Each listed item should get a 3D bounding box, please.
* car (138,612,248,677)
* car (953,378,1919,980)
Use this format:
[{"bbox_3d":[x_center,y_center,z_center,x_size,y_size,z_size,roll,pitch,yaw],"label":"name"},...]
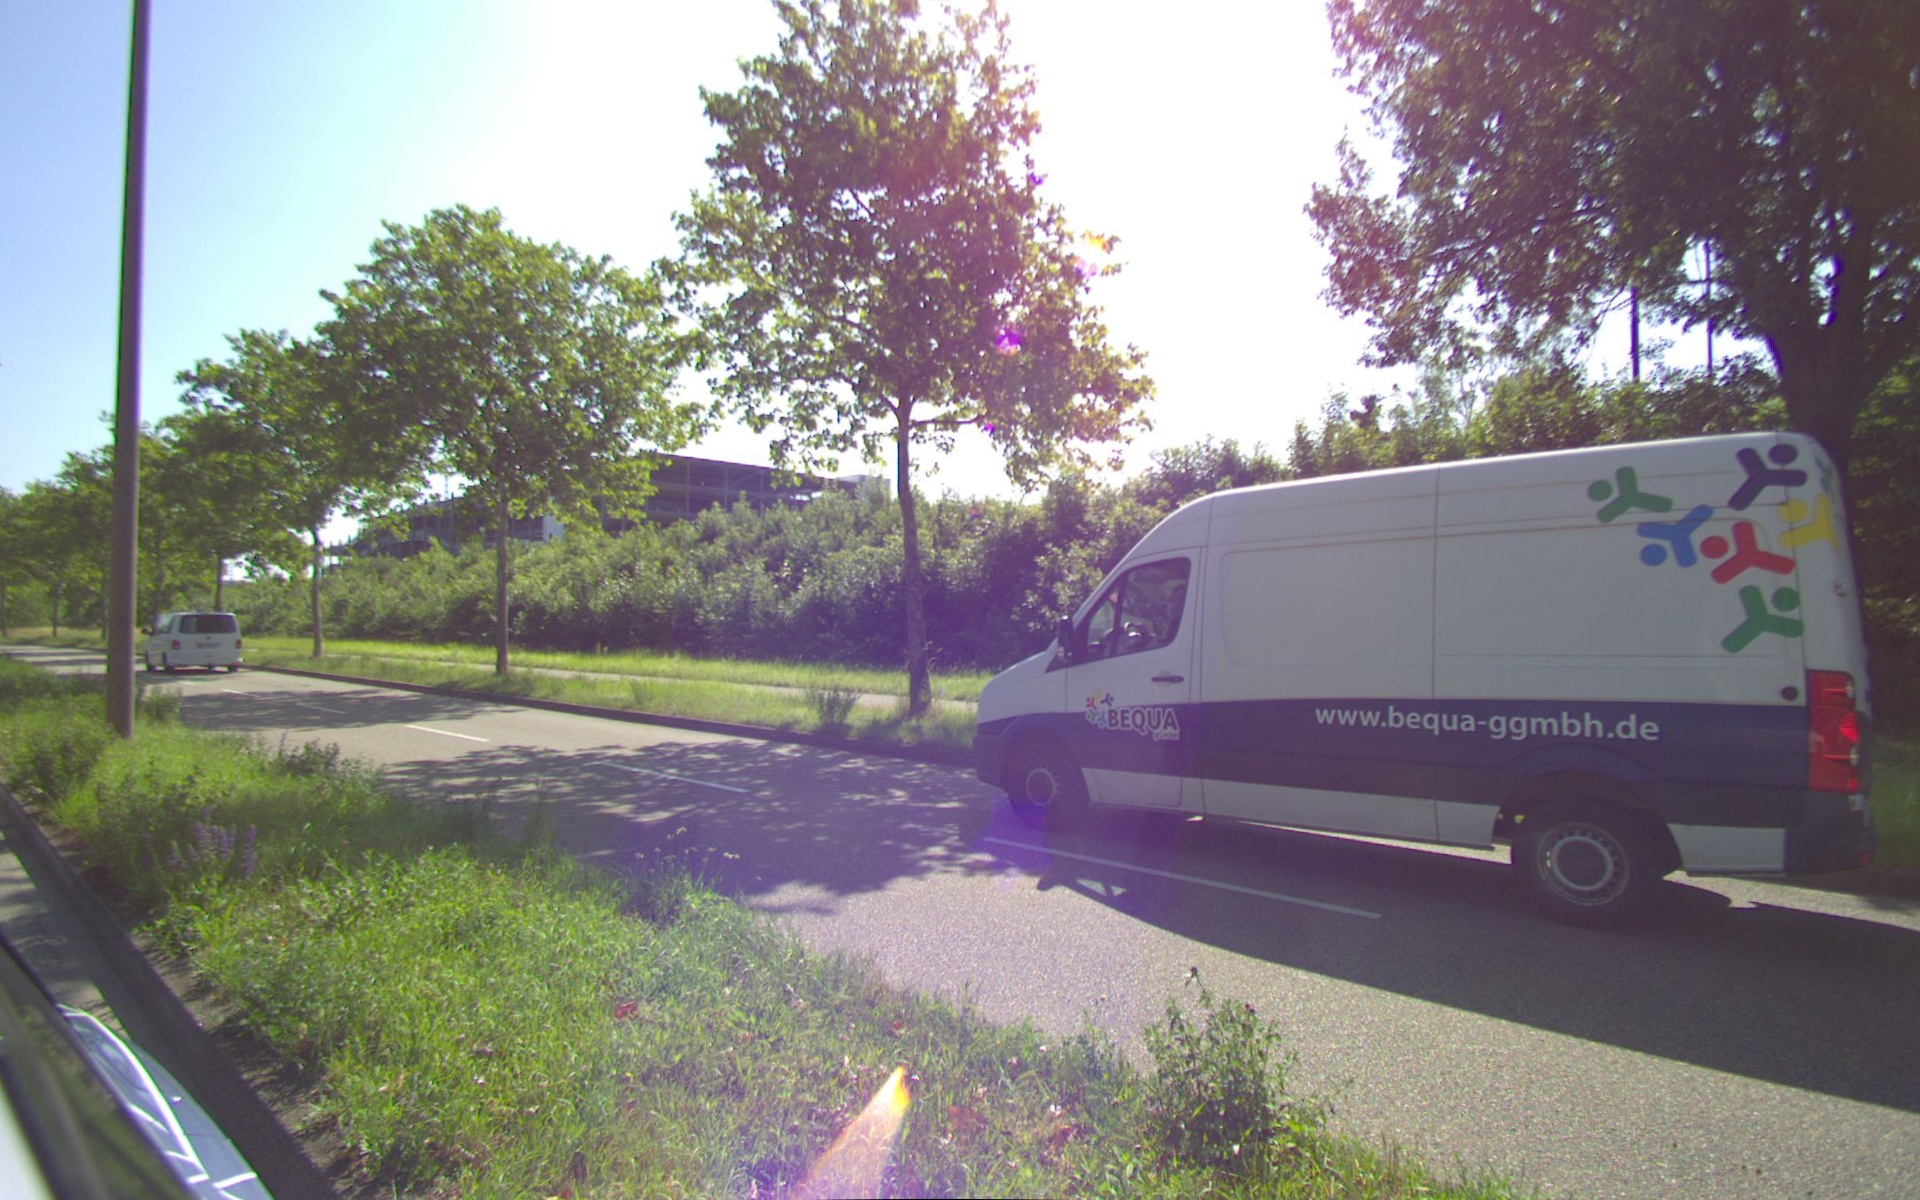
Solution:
[{"bbox_3d":[-24.405,1.394,32.148,4.574,1.912,1.972,-1,-4,43],"label":"car"},{"bbox_3d":[2.769,0.424,7.155,5.783,2.683,1.973,-1,-3,41],"label":"car"}]
